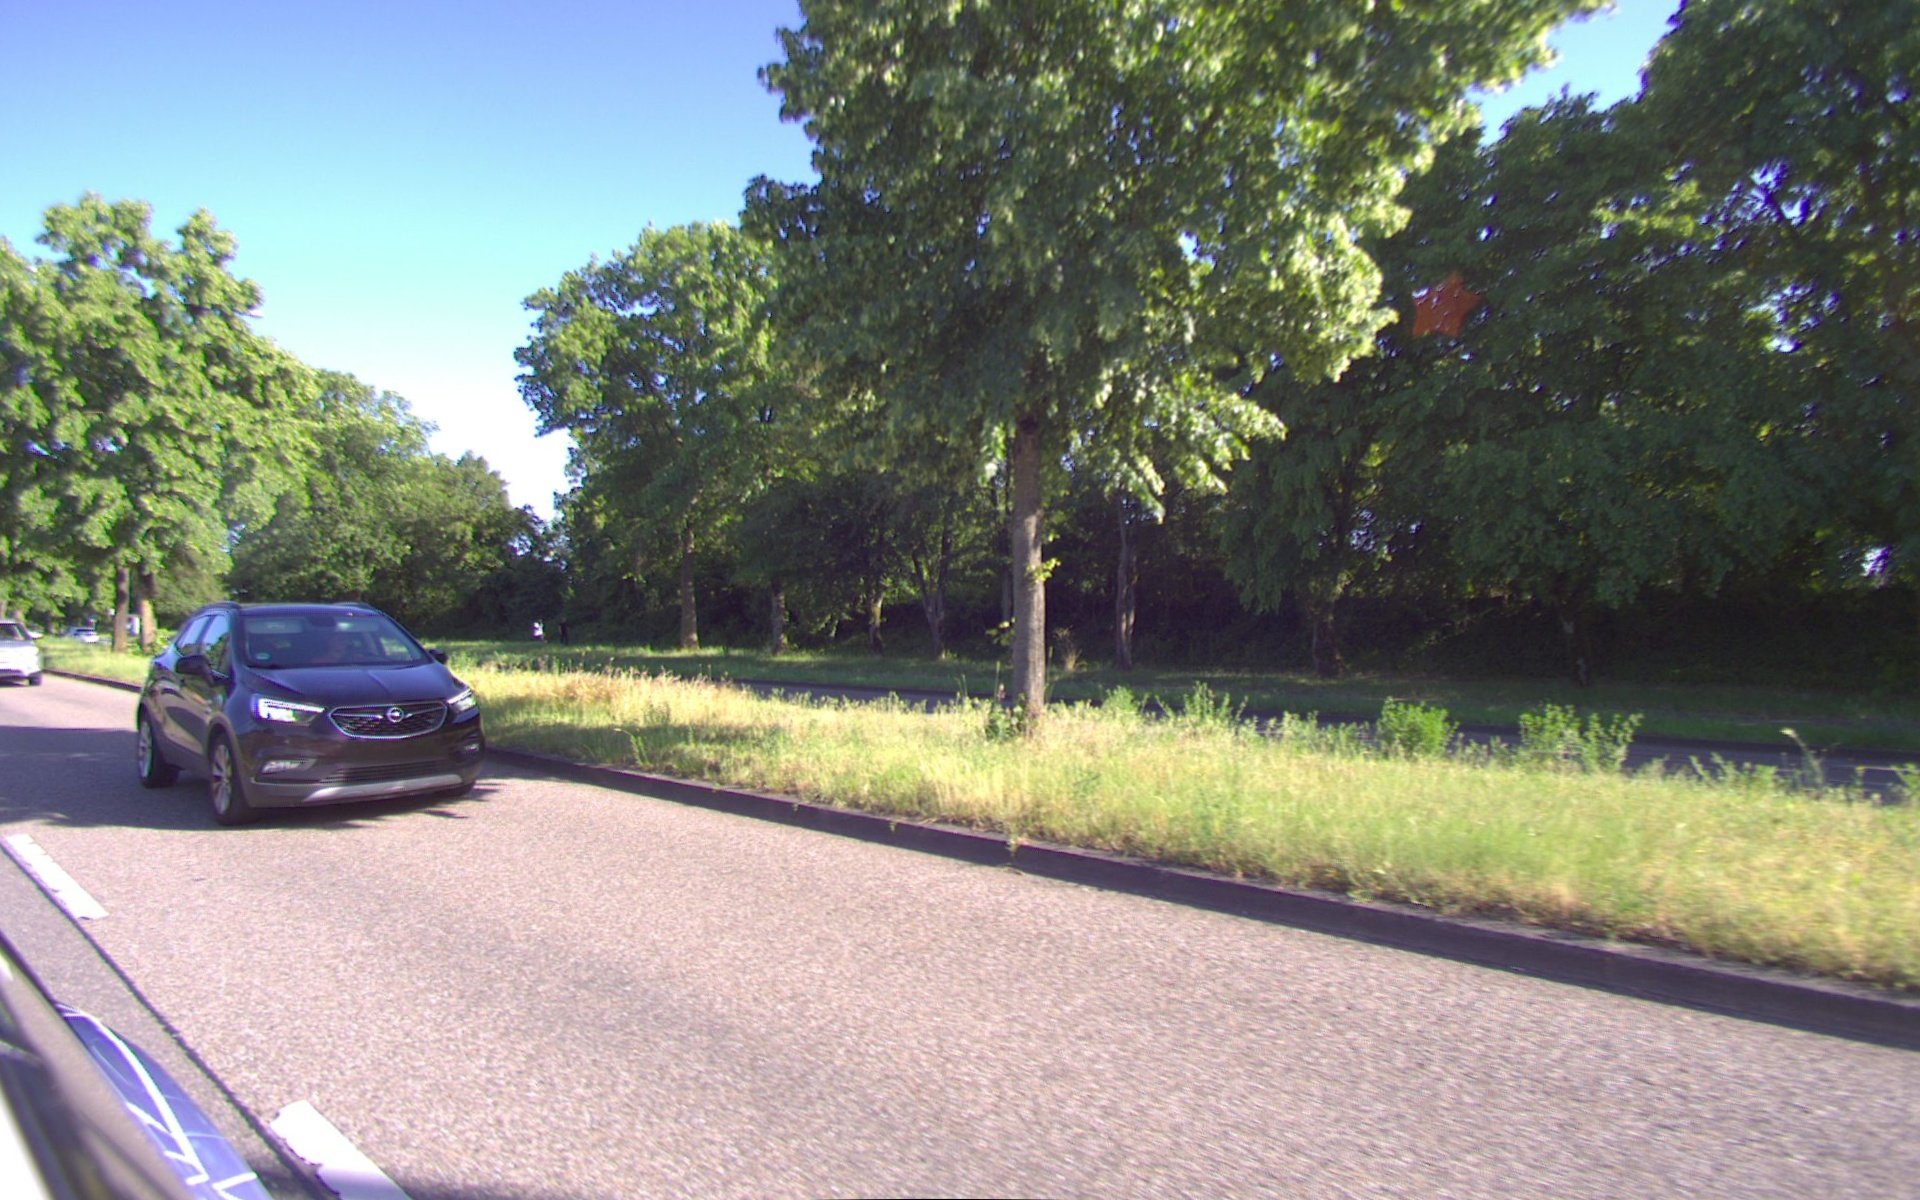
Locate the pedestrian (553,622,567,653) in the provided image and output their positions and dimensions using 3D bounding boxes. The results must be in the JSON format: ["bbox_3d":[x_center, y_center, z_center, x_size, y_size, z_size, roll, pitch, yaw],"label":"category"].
[{"bbox_3d":[-21.800,2.049,55.178,0.553,1.672,0.541,-1,0,-44],"label":"pedestrian"}]

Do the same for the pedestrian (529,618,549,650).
[{"bbox_3d":[-22.665,1.831,54.475,0.679,1.672,0.675,-1,1,38],"label":"pedestrian"}]

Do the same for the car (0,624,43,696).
[{"bbox_3d":[-23.310,1.380,24.064,4.104,1.622,1.766,-1,-2,41],"label":"car"}]

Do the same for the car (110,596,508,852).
[{"bbox_3d":[-5.700,0.853,8.612,4.415,1.644,1.678,-1,-2,41],"label":"car"}]

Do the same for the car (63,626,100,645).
[{"bbox_3d":[-72.706,2.956,83.736,4.343,1.468,1.708,-2,-4,41],"label":"car"}]
